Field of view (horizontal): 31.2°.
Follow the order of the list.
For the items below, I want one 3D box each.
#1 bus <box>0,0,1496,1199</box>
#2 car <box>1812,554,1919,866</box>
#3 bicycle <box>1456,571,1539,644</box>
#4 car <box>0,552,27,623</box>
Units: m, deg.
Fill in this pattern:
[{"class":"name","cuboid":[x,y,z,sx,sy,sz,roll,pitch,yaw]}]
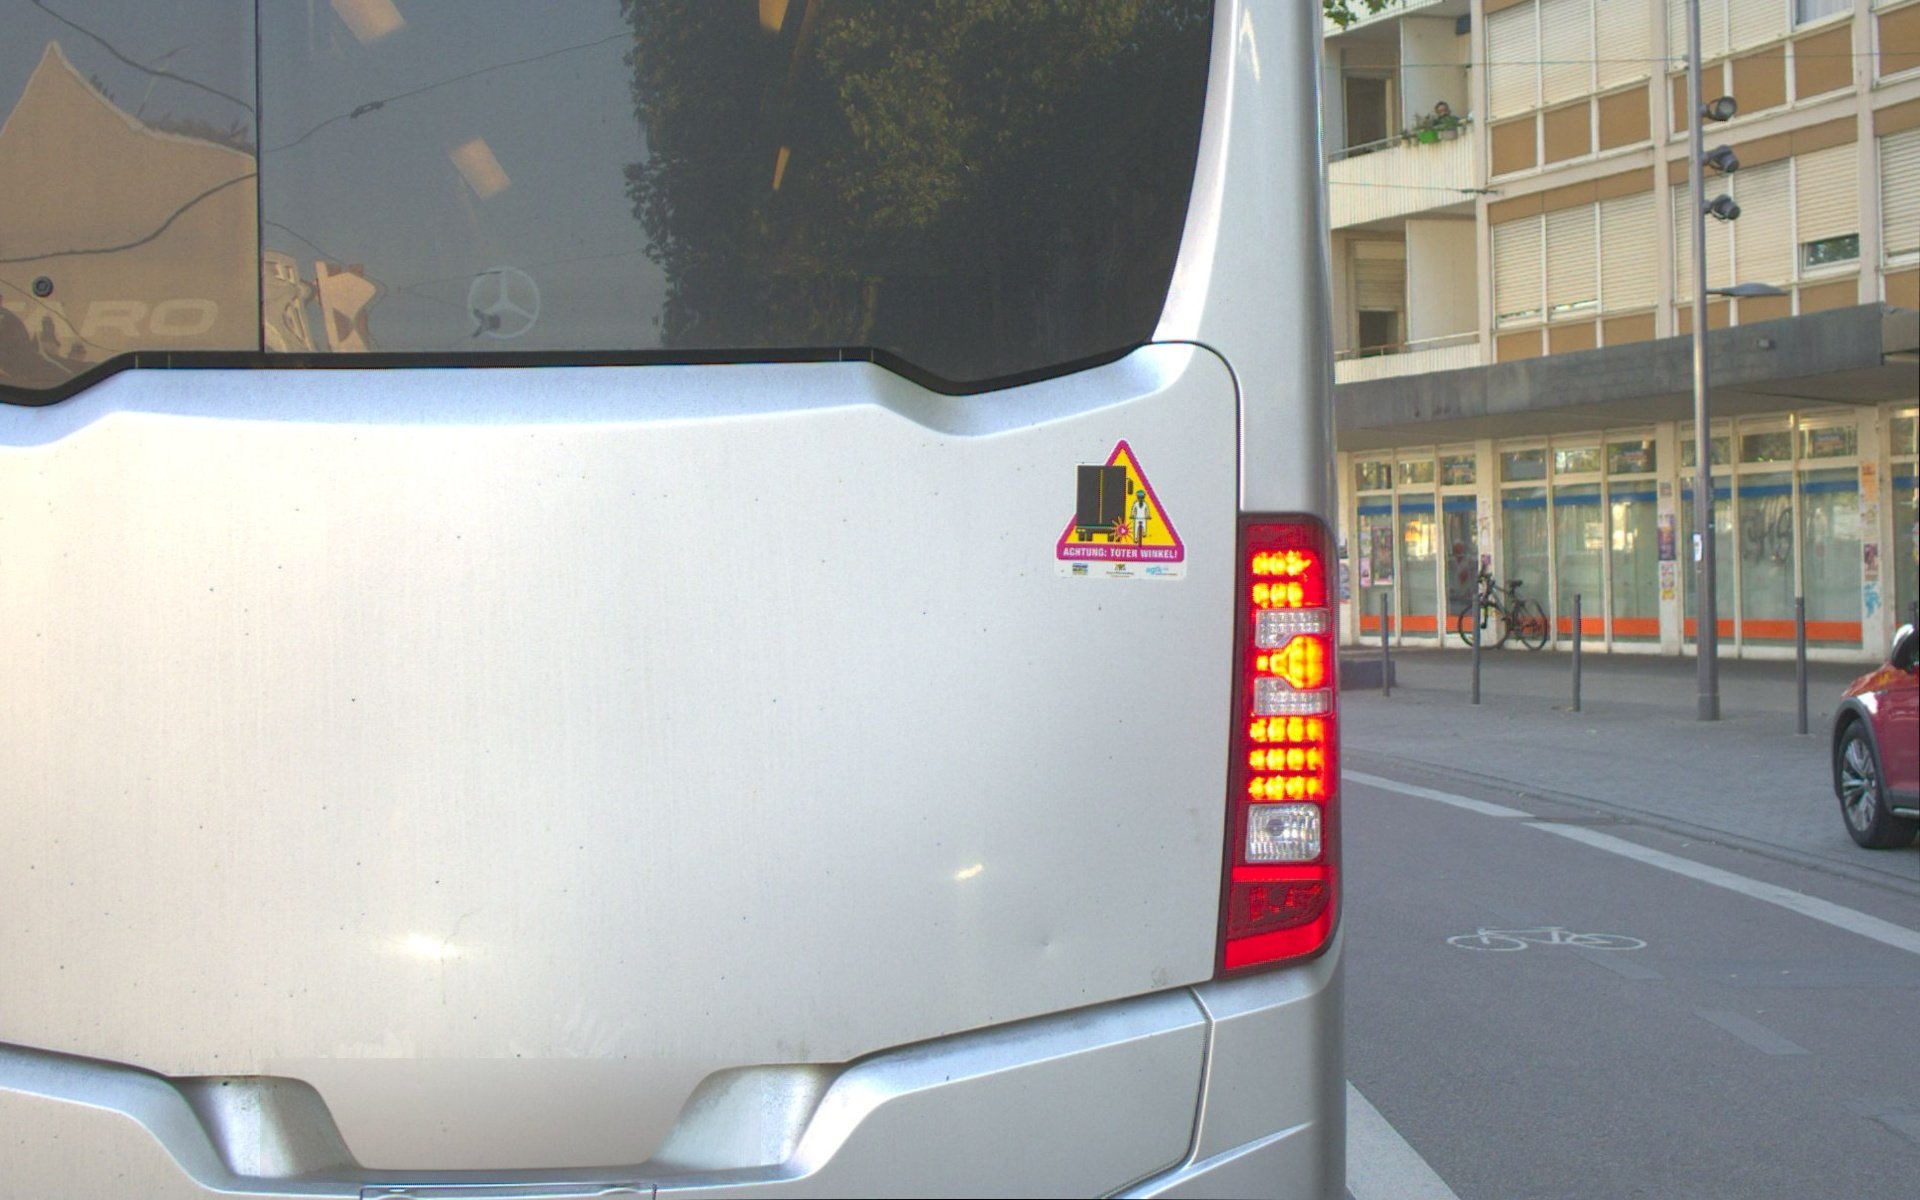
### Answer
[{"class":"bus","cuboid":[-0.769,-0.138,9.774,2.630,3.017,9.998,0,1,-2]},{"class":"car","cuboid":[5.515,0.510,15.852,1.769,1.477,4.304,-2,1,-4]},{"class":"bicycle","cuboid":[7.132,0.094,45.672,0.412,0.941,1.441,-1,1,-20]},{"class":"car","cuboid":[-25.702,-0.329,87.969,1.994,1.785,3.998,1,0,-41]}]
